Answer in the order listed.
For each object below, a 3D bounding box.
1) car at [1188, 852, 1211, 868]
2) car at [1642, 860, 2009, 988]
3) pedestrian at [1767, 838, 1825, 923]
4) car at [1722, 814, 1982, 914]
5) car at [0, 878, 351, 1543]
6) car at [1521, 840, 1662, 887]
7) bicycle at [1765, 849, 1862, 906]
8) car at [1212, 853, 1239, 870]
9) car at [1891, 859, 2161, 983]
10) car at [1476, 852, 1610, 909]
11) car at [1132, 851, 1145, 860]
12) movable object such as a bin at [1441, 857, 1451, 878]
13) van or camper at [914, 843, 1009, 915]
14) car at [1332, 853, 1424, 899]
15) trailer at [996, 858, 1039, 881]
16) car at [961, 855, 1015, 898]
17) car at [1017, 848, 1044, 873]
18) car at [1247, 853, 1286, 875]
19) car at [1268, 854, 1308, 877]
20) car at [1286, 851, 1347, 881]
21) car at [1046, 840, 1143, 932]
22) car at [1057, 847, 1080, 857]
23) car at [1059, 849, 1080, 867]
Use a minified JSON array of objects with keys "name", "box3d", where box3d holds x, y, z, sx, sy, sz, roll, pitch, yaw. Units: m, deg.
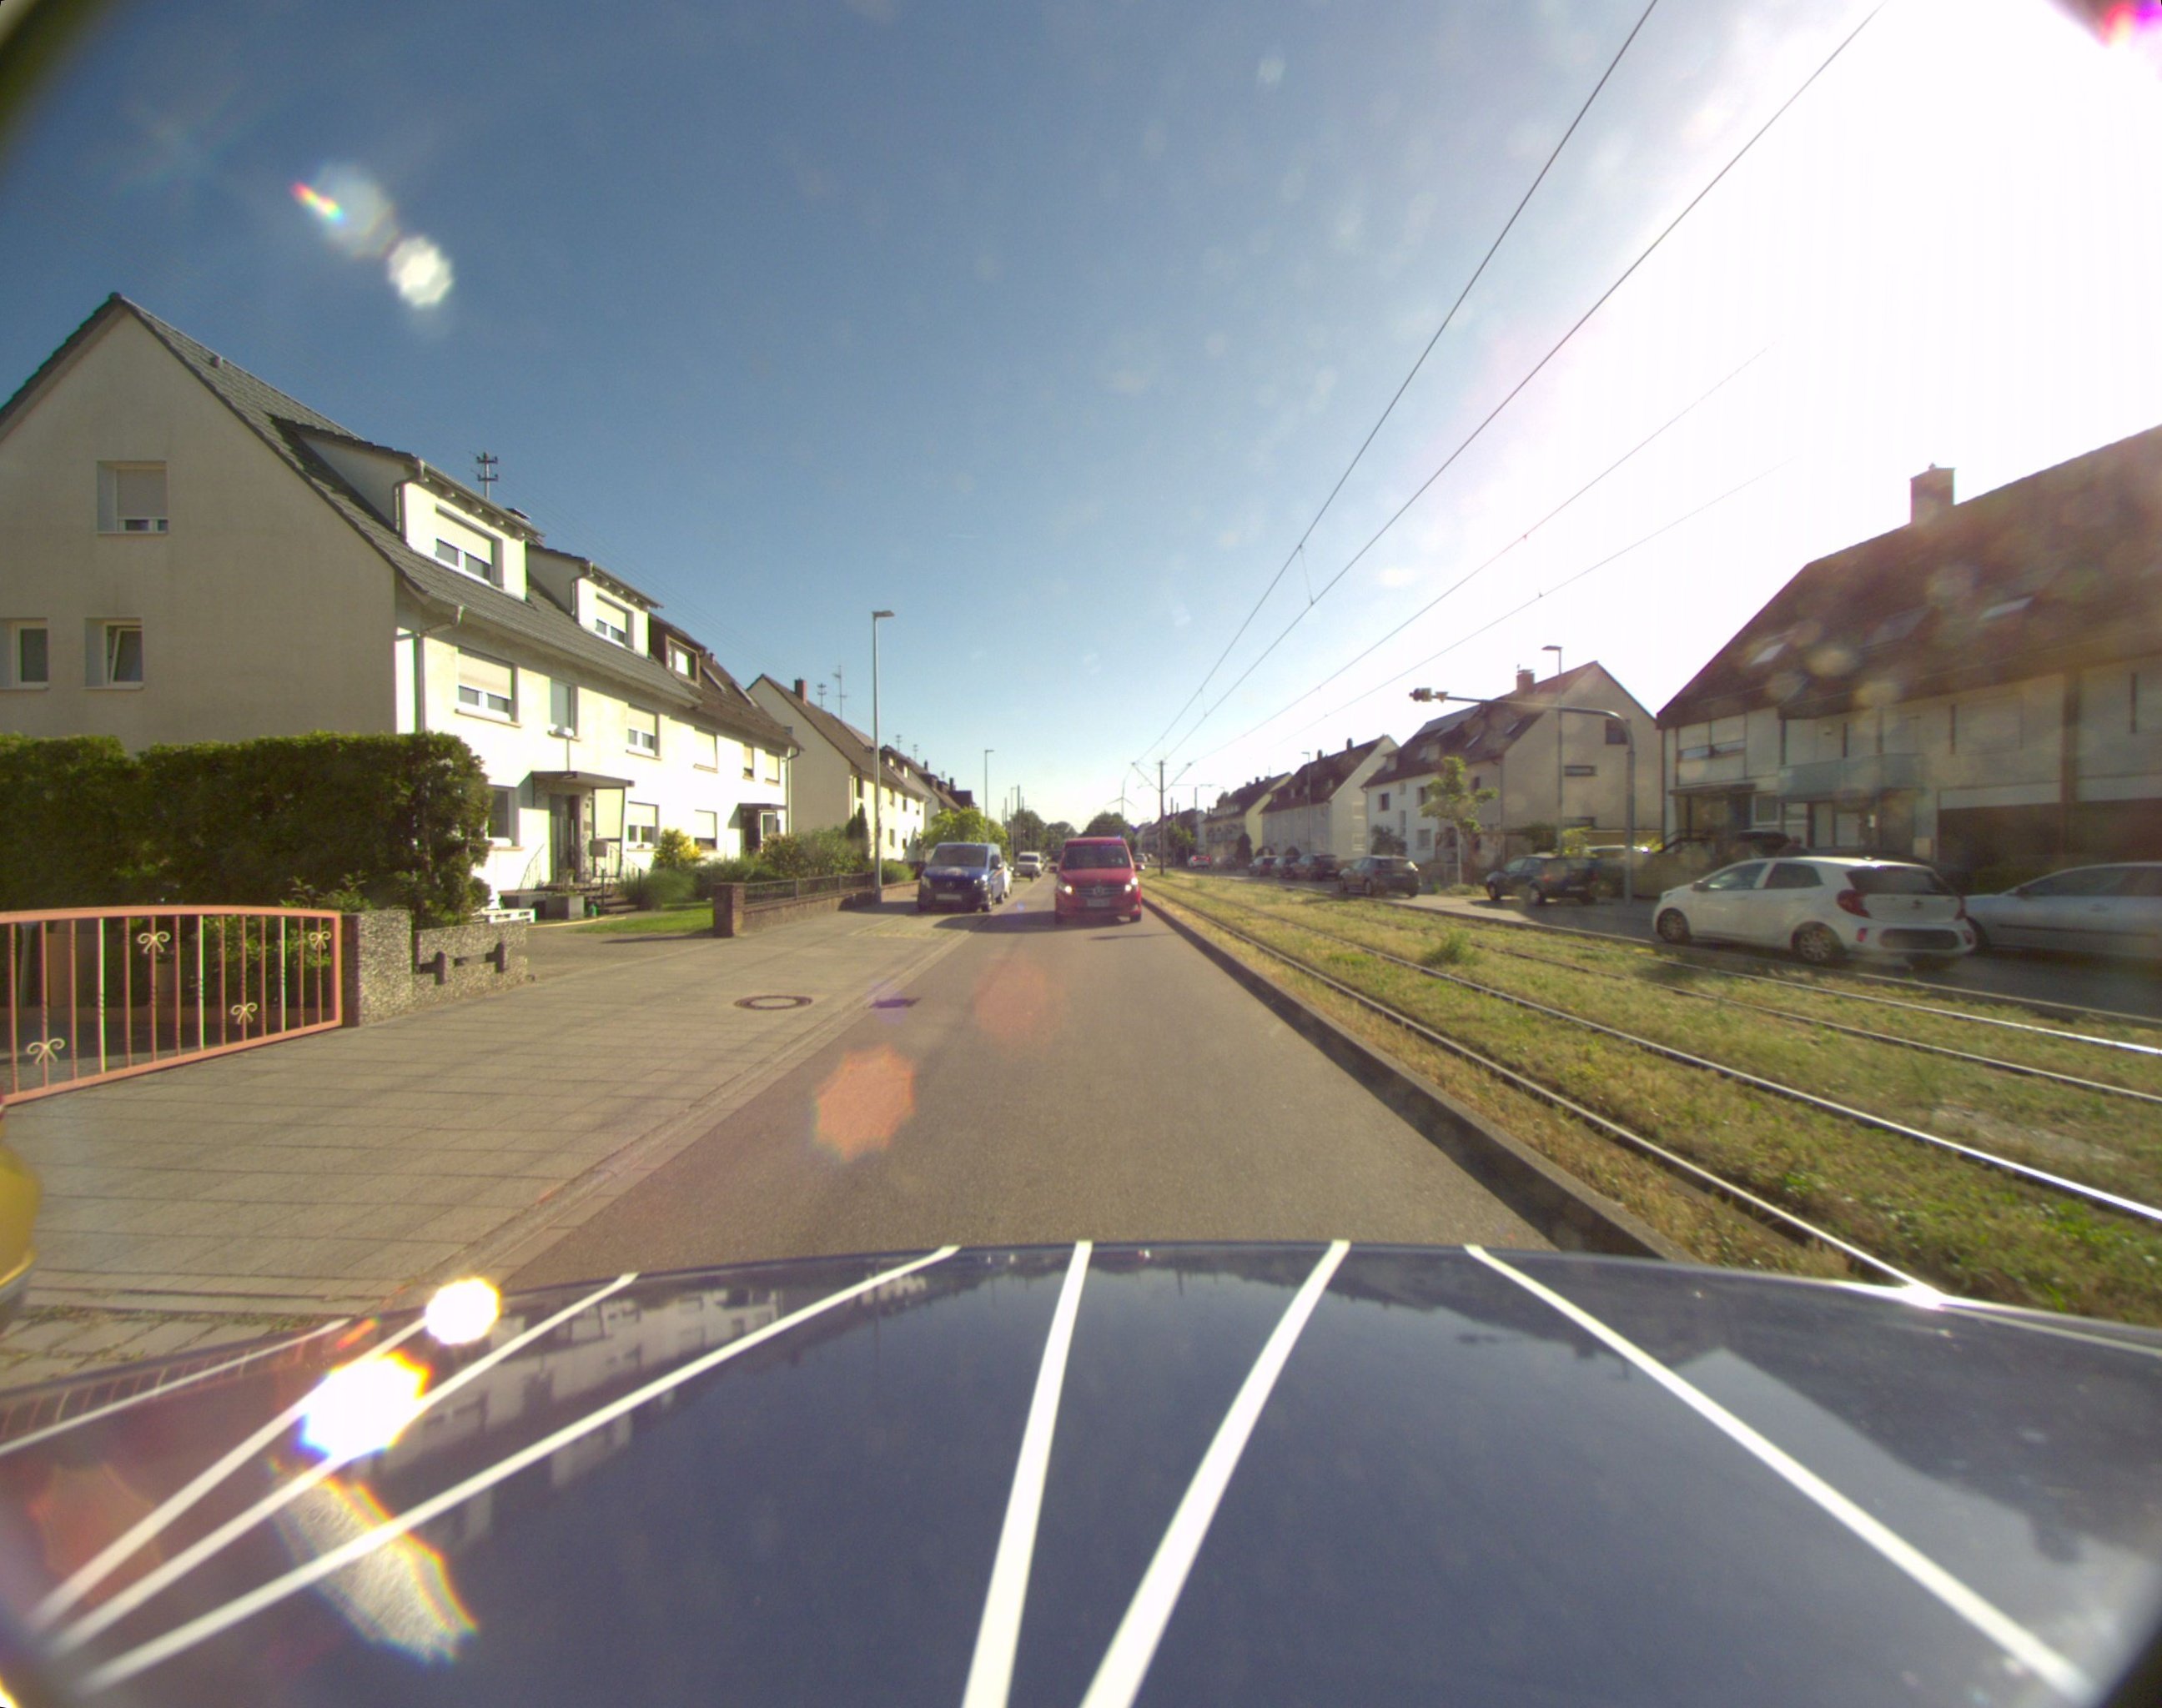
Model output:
[{"name":"car","box3d":[12.672,0.630,81.448,1.831,1.522,4.092,-2,1,0]},{"name":"car","box3d":[10.445,0.868,11.114,1.693,1.467,3.679,1,1,0]},{"name":"pedestrian","box3d":[15.691,0.567,16.681,0.617,1.805,0.678,-2,1,-8]},{"name":"car","box3d":[18.872,0.231,18.748,4.471,2.069,1.787,-4,1,1]},{"name":"car","box3d":[-3.513,0.890,0.213,1.810,1.550,4.926,0,1,1]},{"name":"car","box3d":[20.684,0.389,30.906,4.403,1.773,1.970,-1,0,0]},{"name":"bicycle","box3d":[16.075,0.491,16.737,0.478,1.156,1.872,-2,1,6]},{"name":"car","box3d":[13.209,0.640,69.672,1.704,1.389,4.092,-2,1,0]},{"name":"car","box3d":[13.932,0.823,10.238,1.662,1.428,4.102,-1,0,0]},{"name":"car","box3d":[13.823,0.725,23.012,1.623,1.503,4.085,-2,0,1]},{"name":"car","box3d":[9.756,0.235,129.174,1.704,1.455,4.092,-2,1,0]},{"name":"movable object such as a bin","box3d":[18.060,0.657,37.591,0.198,1.007,0.607,-2,0,3]},{"name":"van or camper","box3d":[-3.309,0.605,22.183,1.954,1.836,5.581,0,1,-1]},{"name":"car","box3d":[10.709,0.752,27.727,1.693,1.467,4.082,1,1,0]},{"name":"trailer","box3d":[-3.685,0.891,45.149,2.278,1.124,6.434,2,0,-3]},{"name":"car","box3d":[-3.483,0.798,29.241,1.735,1.450,5.283,0,0,-3]},{"name":"car","box3d":[-3.665,0.448,55.512,1.796,1.752,4.583,2,0,-3]},{"name":"car","box3d":[13.381,0.698,54.945,1.658,1.447,4.400,-2,1,0]},{"name":"car","box3d":[13.481,0.732,49.697,1.469,1.459,3.998,0,0,-1]},{"name":"car","box3d":[13.672,0.641,44.406,1.925,1.551,4.857,-2,1,-1]},{"name":"car","box3d":[0.279,0.634,18.713,1.999,1.889,5.389,-1,1,0]},{"name":"car","box3d":[-2.104,-0.328,129.835,3.728,1.555,1.706,-2,1,5]},{"name":"car","box3d":[-1.102,0.365,73.056,1.862,1.592,4.327,2,1,-3]}]
